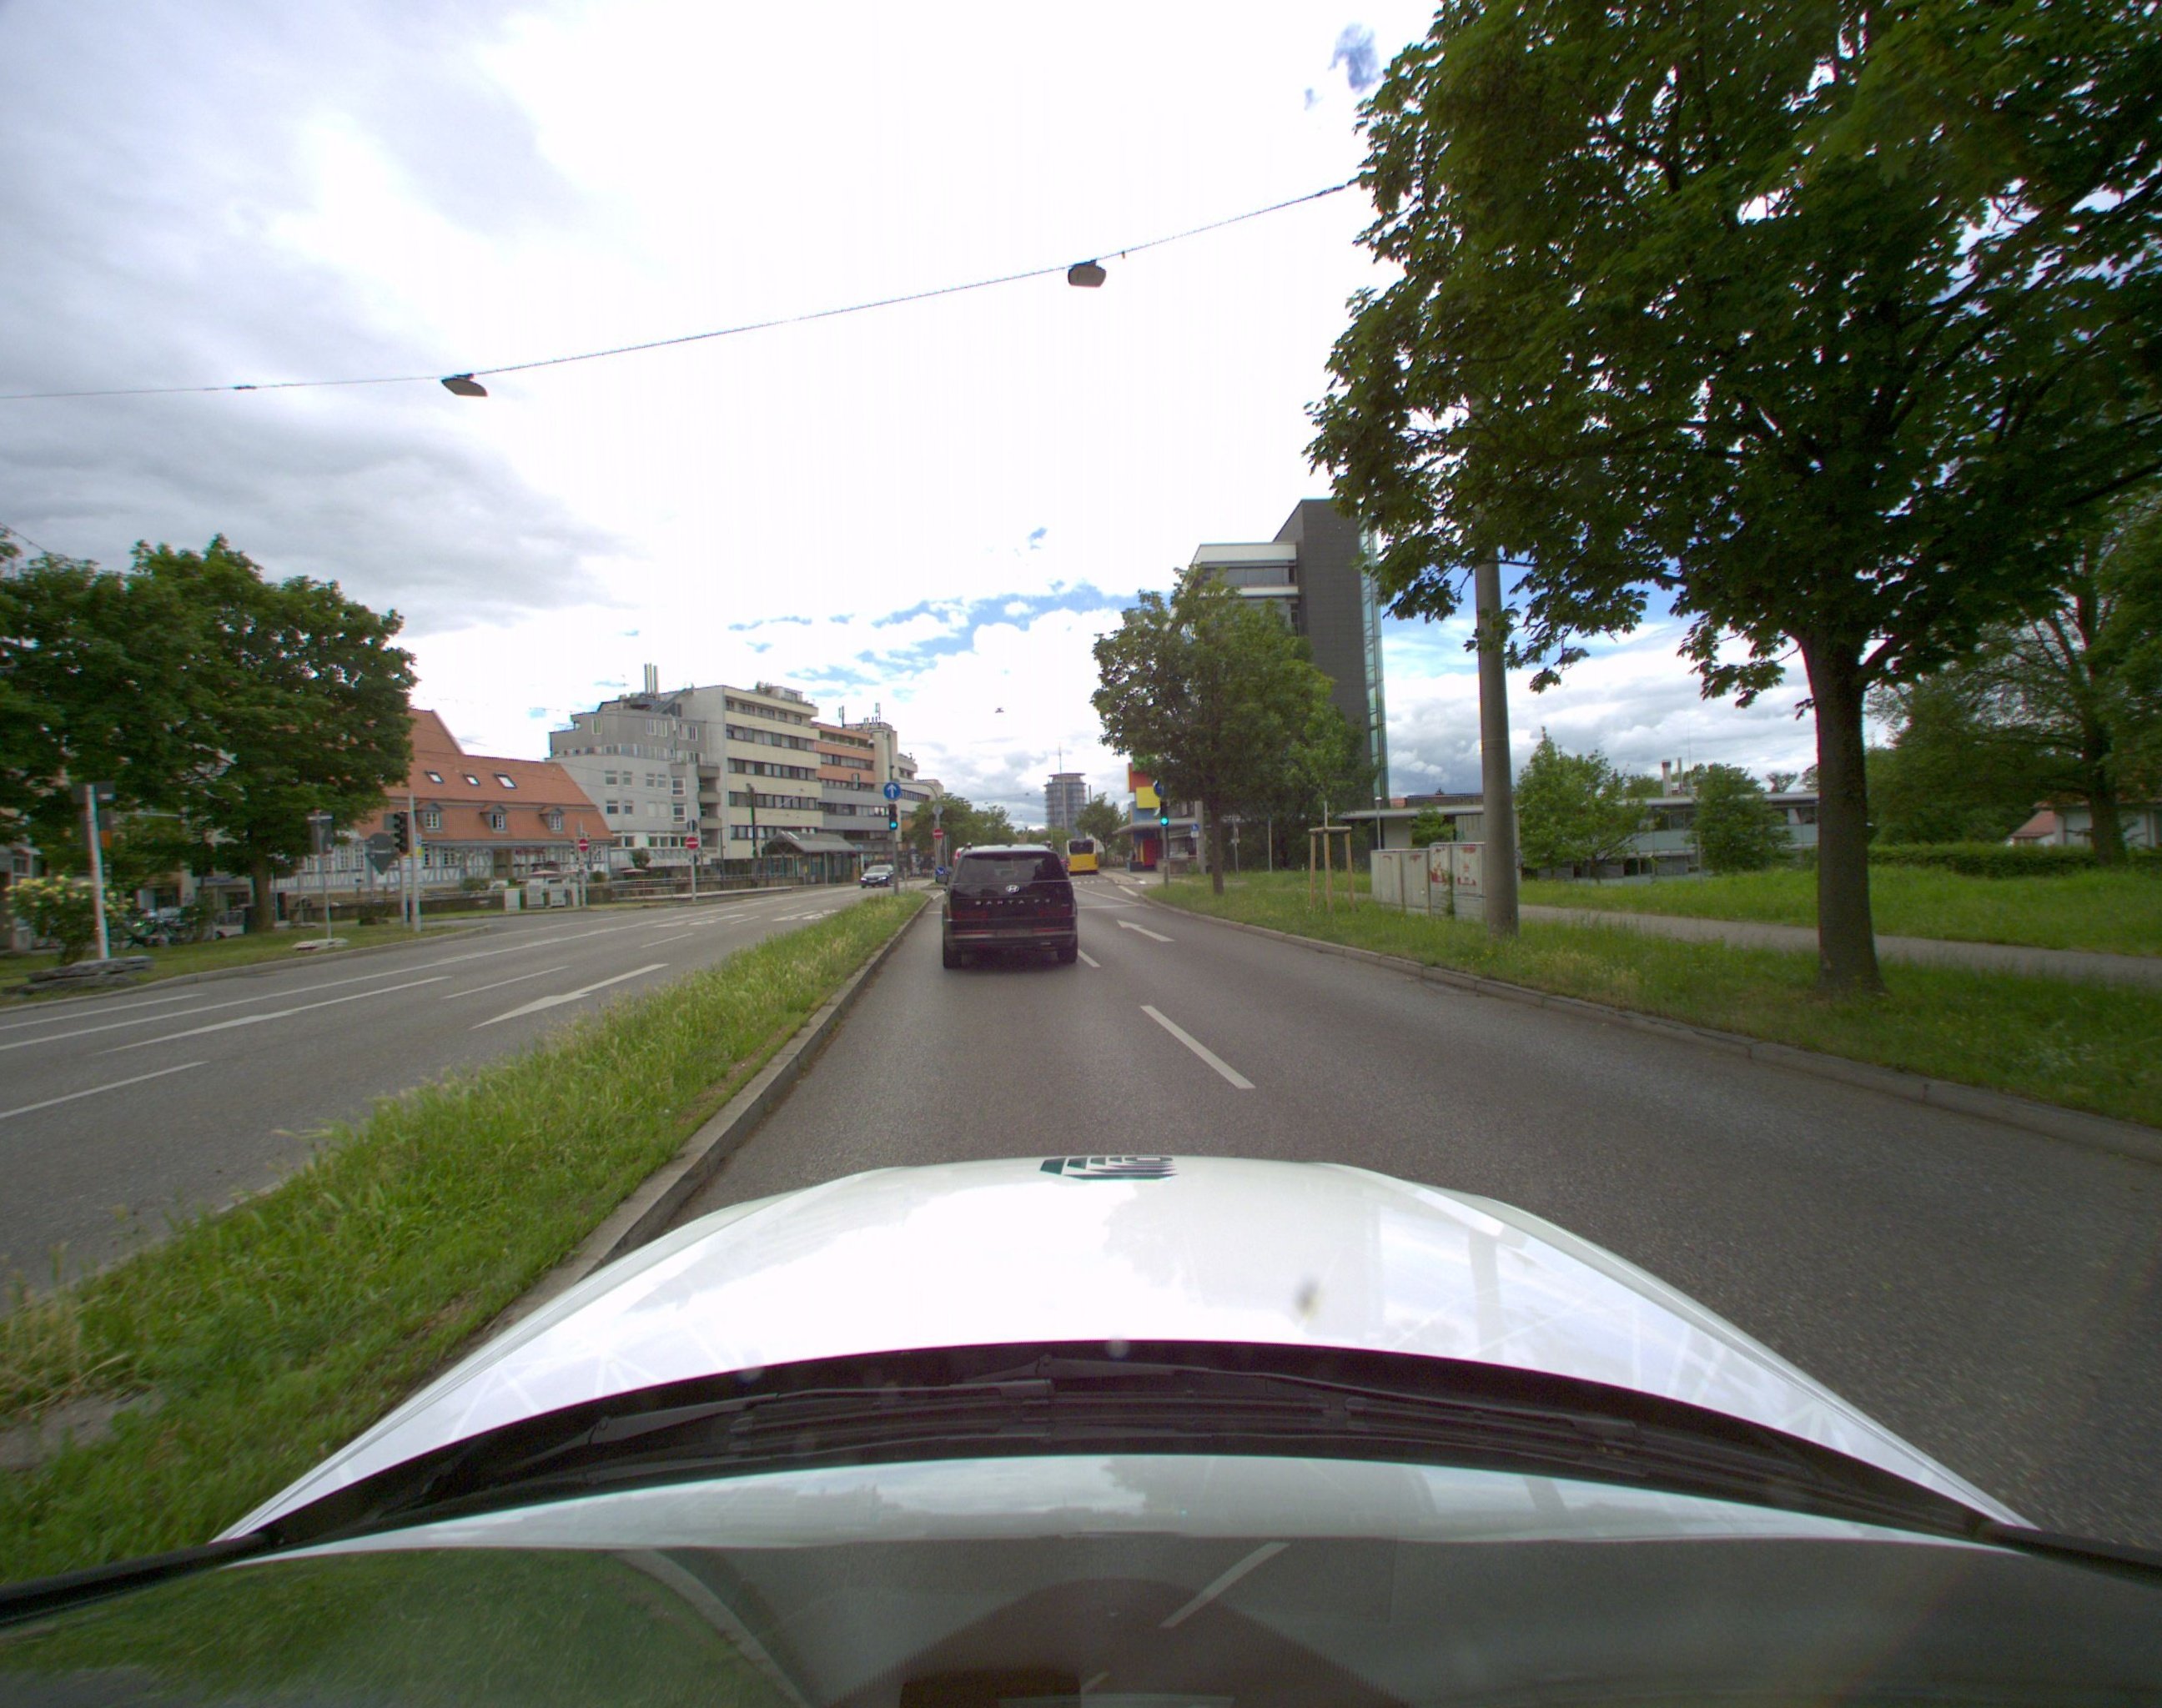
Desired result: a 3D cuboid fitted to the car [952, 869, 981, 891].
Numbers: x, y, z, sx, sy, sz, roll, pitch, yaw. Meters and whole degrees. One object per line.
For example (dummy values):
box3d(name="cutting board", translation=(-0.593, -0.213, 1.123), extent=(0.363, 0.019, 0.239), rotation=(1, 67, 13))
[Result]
box3d(name="car", translation=(-8.121, 1.825, 58.005), extent=(1.871, 1.418, 4.433), rotation=(-1, 0, -6))

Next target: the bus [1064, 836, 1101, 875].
box3d(name="bus", translation=(0.205, 0.132, 73.476), extent=(2.956, 3.116, 9.244), rotation=(-4, -1, 1))

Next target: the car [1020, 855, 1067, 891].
box3d(name="car", translation=(-1.842, 0.833, 38.399), extent=(1.900, 1.542, 4.699), rotation=(-1, 0, -7))

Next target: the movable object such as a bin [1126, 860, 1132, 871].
box3d(name="movable object such as a bin", translation=(3.888, 0.944, 65.918), extent=(0.355, 0.898, 0.462), rotation=(-2, -1, -1))

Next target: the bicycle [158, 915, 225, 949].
box3d(name="bicycle", translation=(-24.135, 2.117, 22.112), extent=(1.256, 0.804, 0.424), rotation=(-3, -1, -5))

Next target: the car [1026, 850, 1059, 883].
box3d(name="car", translation=(-2.365, 0.689, 49.085), extent=(1.898, 1.859, 4.703), rotation=(-1, 0, -4))

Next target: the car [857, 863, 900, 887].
box3d(name="car", translation=(-13.257, 1.348, 53.610), extent=(1.794, 1.455, 4.608), rotation=(-3, 0, -2))

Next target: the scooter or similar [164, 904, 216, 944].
box3d(name="scooter or similar", translation=(-26.460, 2.080, 24.198), extent=(0.422, 1.085, 0.991), rotation=(-3, 0, -2))

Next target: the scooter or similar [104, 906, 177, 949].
box3d(name="scooter or similar", translation=(-26.363, 2.037, 22.846), extent=(0.599, 1.085, 1.177), rotation=(-3, 0, 3))

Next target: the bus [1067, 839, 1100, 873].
box3d(name="bus", translation=(0.335, 0.216, 82.989), extent=(2.942, 3.111, 9.976), rotation=(-4, -1, 1))

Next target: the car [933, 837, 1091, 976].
box3d(name="car", translation=(-1.267, 0.650, 12.671), extent=(1.904, 1.731, 4.428), rotation=(-1, 0, -12))

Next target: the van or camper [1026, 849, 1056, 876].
box3d(name="van or camper", translation=(-3.106, 0.612, 62.559), extent=(1.992, 1.917, 4.398), rotation=(-2, 1, -7))

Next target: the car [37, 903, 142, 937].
box3d(name="car", translation=(-46.361, 3.088, 38.072), extent=(4.626, 1.380, 1.837), rotation=(-3, -1, 23))

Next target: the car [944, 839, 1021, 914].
box3d(name="car", translation=(-3.000, 0.591, 24.037), extent=(1.903, 1.969, 4.618), rotation=(-1, 0, -11))

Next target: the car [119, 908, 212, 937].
box3d(name="car", translation=(-47.961, 3.590, 42.670), extent=(3.864, 1.295, 1.997), rotation=(-3, 0, 21))

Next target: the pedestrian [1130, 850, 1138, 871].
box3d(name="pedestrian", translation=(4.328, 0.561, 66.560), extent=(0.523, 1.673, 0.733), rotation=(-2, -1, -1))

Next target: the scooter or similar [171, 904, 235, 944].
box3d(name="scooter or similar", translation=(-25.270, 2.000, 23.456), extent=(0.487, 1.045, 1.178), rotation=(-3, 0, 6))
